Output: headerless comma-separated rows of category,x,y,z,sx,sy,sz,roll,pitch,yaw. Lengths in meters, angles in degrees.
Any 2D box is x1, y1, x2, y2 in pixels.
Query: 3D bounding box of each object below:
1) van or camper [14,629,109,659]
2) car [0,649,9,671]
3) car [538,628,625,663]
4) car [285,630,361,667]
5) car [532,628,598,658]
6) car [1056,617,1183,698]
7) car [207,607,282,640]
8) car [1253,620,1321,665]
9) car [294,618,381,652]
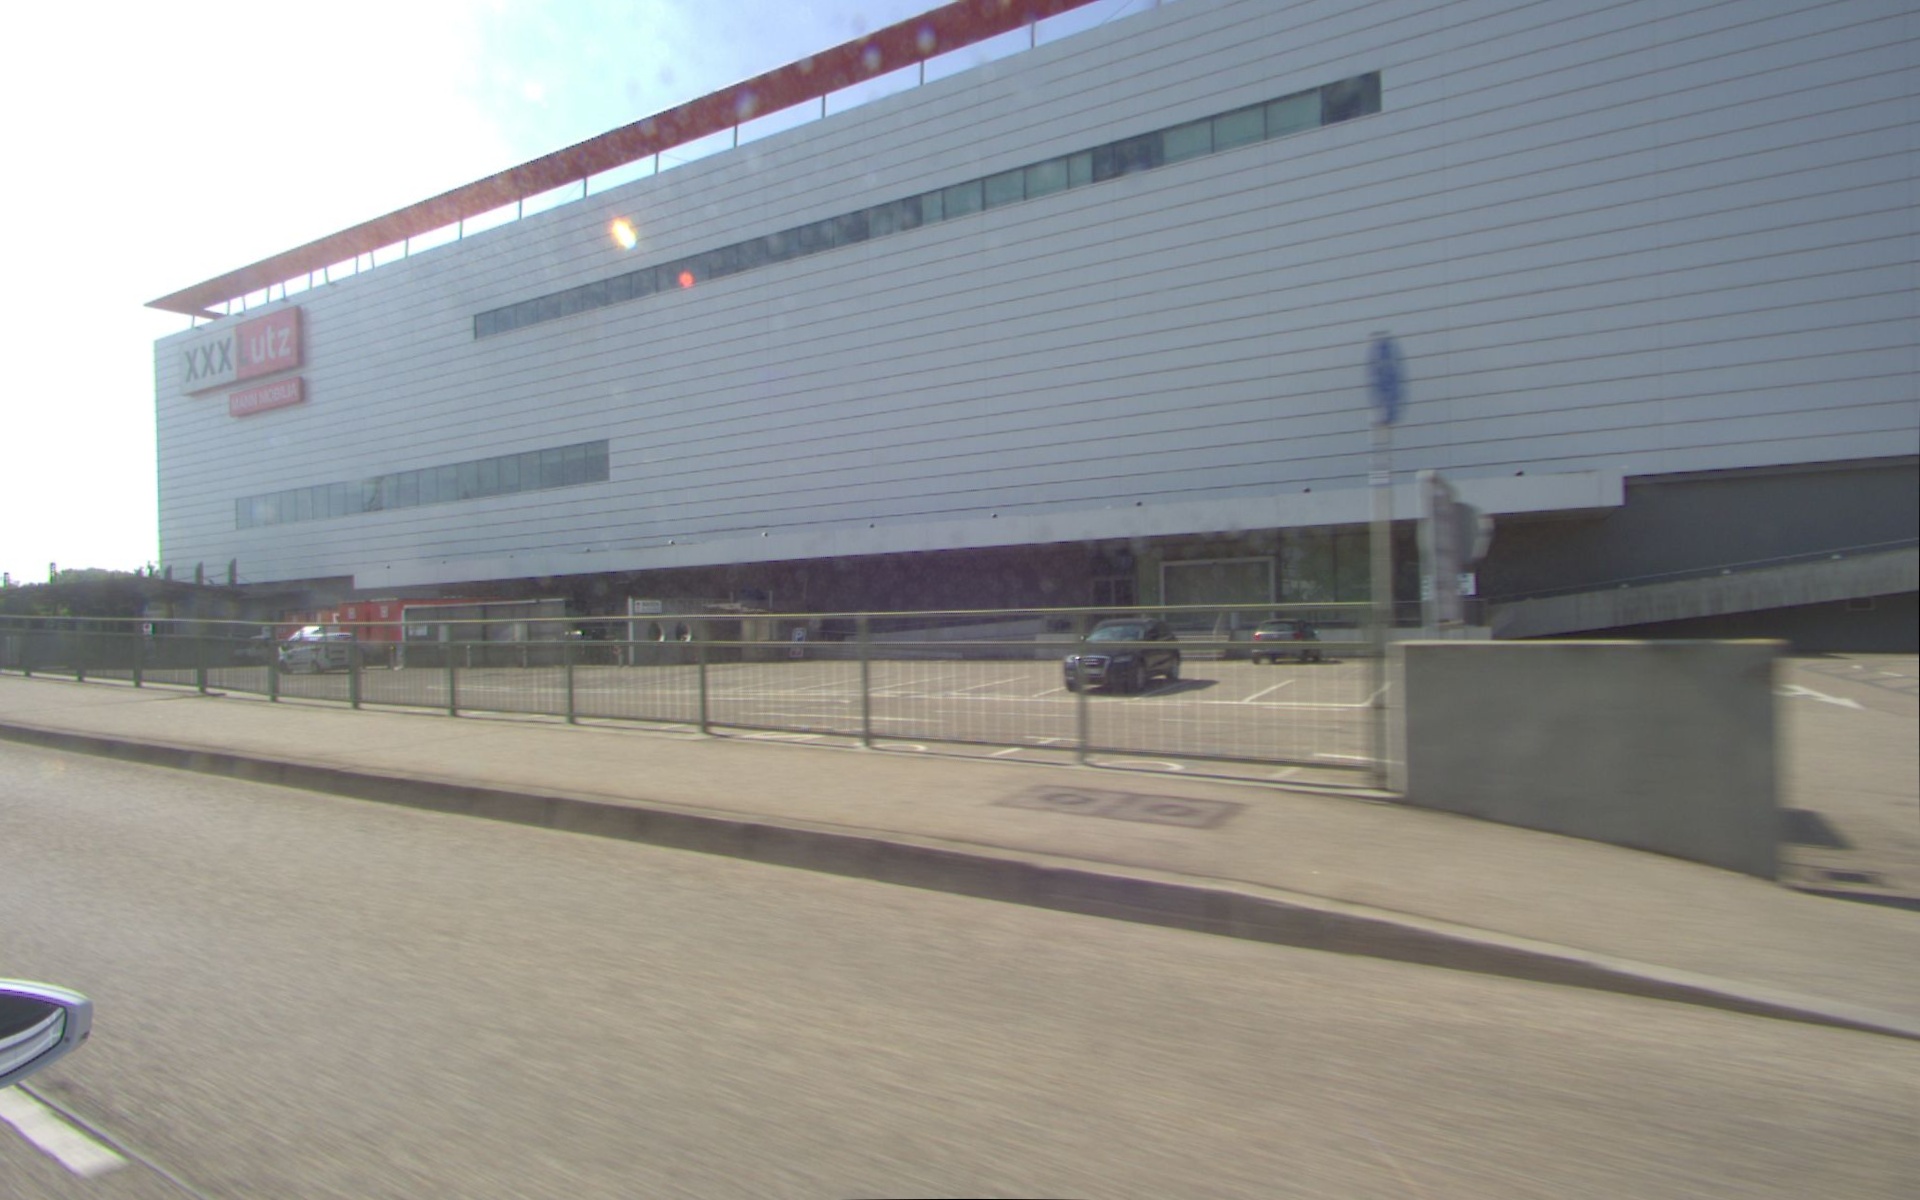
van or camper,-72.521,3.597,80.944,2.067,2.205,5.435,-2,-4,17
car,-64.916,3.941,65.754,3.930,1.437,1.998,-2,-4,19
car,-17.646,2.099,46.643,4.034,1.529,1.670,-1,-1,32
car,-32.274,2.427,50.738,4.034,1.774,1.670,-1,-1,32
car,-19.944,2.170,50.571,3.207,1.487,1.508,-1,-1,32
car,4.048,1.336,24.736,1.809,1.635,4.418,-1,1,27
car,-51.445,1.732,72.064,1.653,2.303,4.075,-1,-1,30
car,10.806,1.385,32.996,1.579,1.393,3.516,-1,-2,27
car,-37.937,2.119,61.101,1.750,1.954,4.182,-1,-2,30
